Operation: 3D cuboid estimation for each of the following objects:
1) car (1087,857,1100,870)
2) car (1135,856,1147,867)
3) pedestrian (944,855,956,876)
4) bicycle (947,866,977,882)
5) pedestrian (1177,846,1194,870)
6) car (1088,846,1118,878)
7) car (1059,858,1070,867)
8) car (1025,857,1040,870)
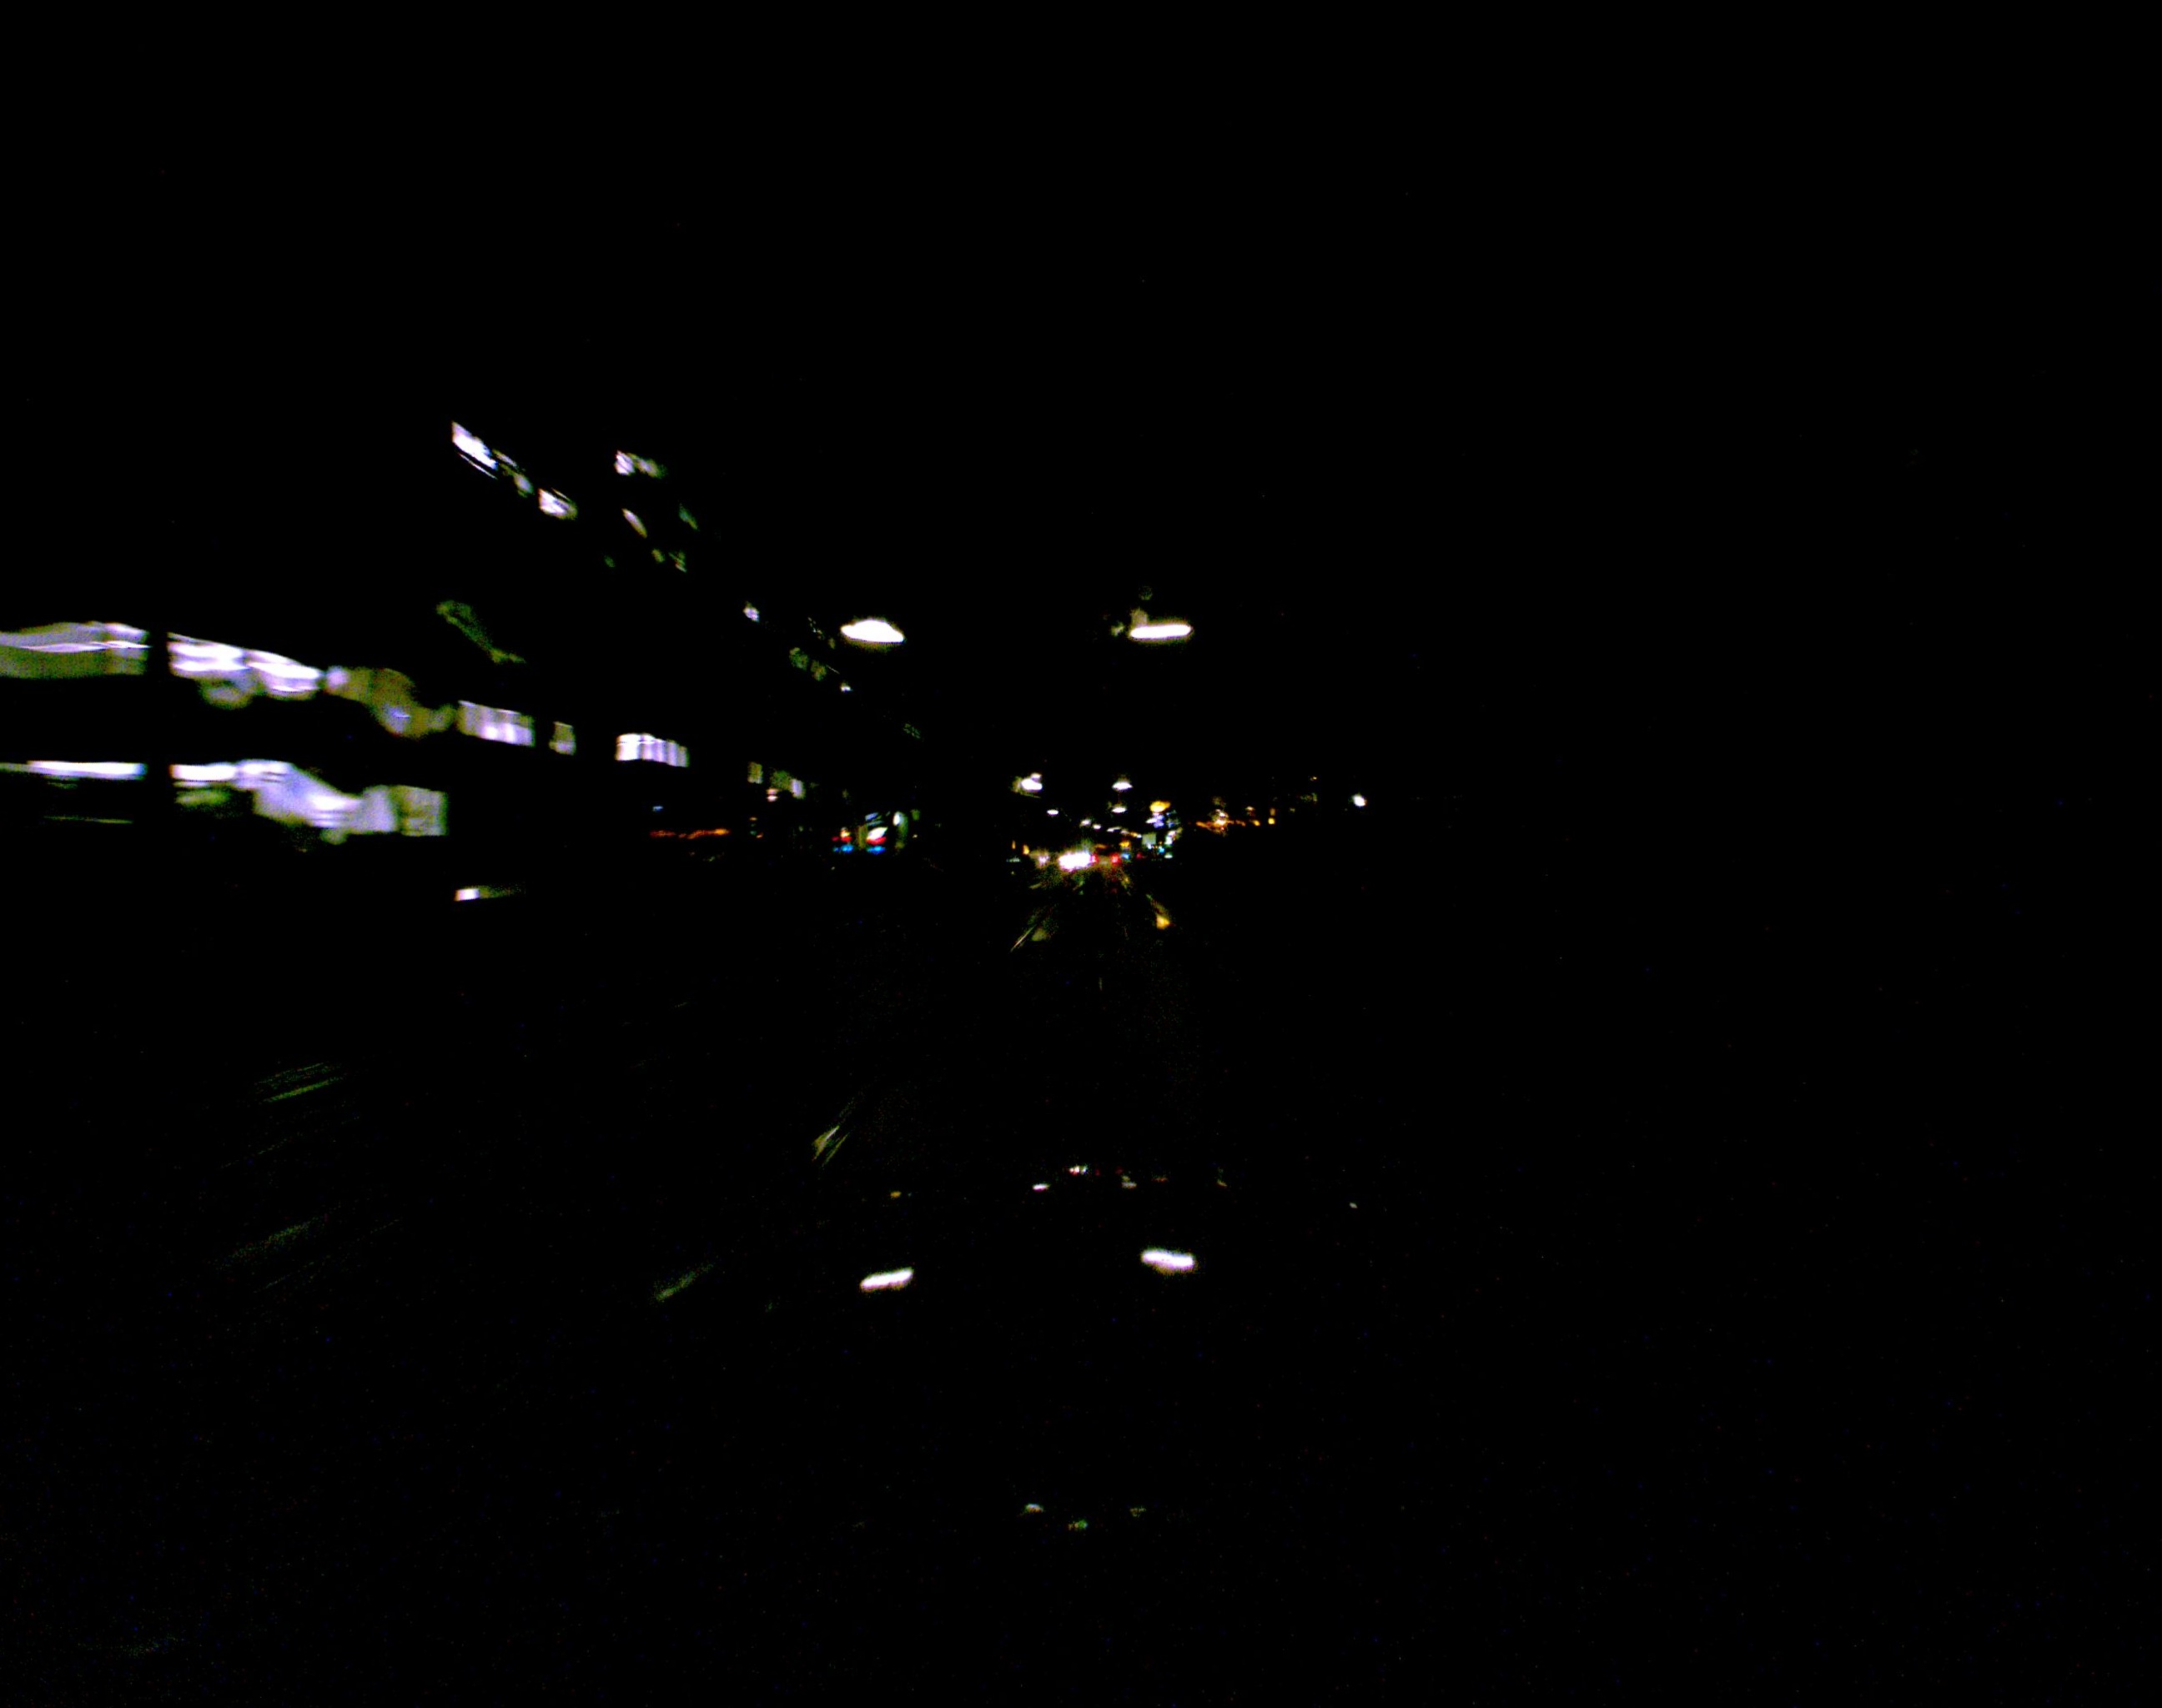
[{"bbox_3d":[1.855,1.446,121.879,1.986,1.816,4.000,-1,-1,1],"label":"car"},{"bbox_3d":[10.561,1.349,144.133,1.986,2.014,4.001,-1,-1,1],"label":"car"},{"bbox_3d":[-10.749,0.965,66.759,0.783,1.686,0.883,-1,-1,1],"label":"pedestrian"},{"bbox_3d":[-7.933,1.346,54.400,1.847,1.077,0.628,-1,-1,1],"label":"bicycle"},{"bbox_3d":[7.543,0.281,58.847,0.937,1.664,0.993,-3,-1,-3],"label":"pedestrian"},{"bbox_3d":[1.692,0.598,63.300,2.236,2.361,4.394,-1,-1,1],"label":"car"},{"bbox_3d":[-3.261,1.727,159.493,1.988,1.724,4.073,-1,-1,-2],"label":"car"},{"bbox_3d":[-7.925,1.569,132.207,1.985,2.014,4.002,-1,-1,3],"label":"car"}]
